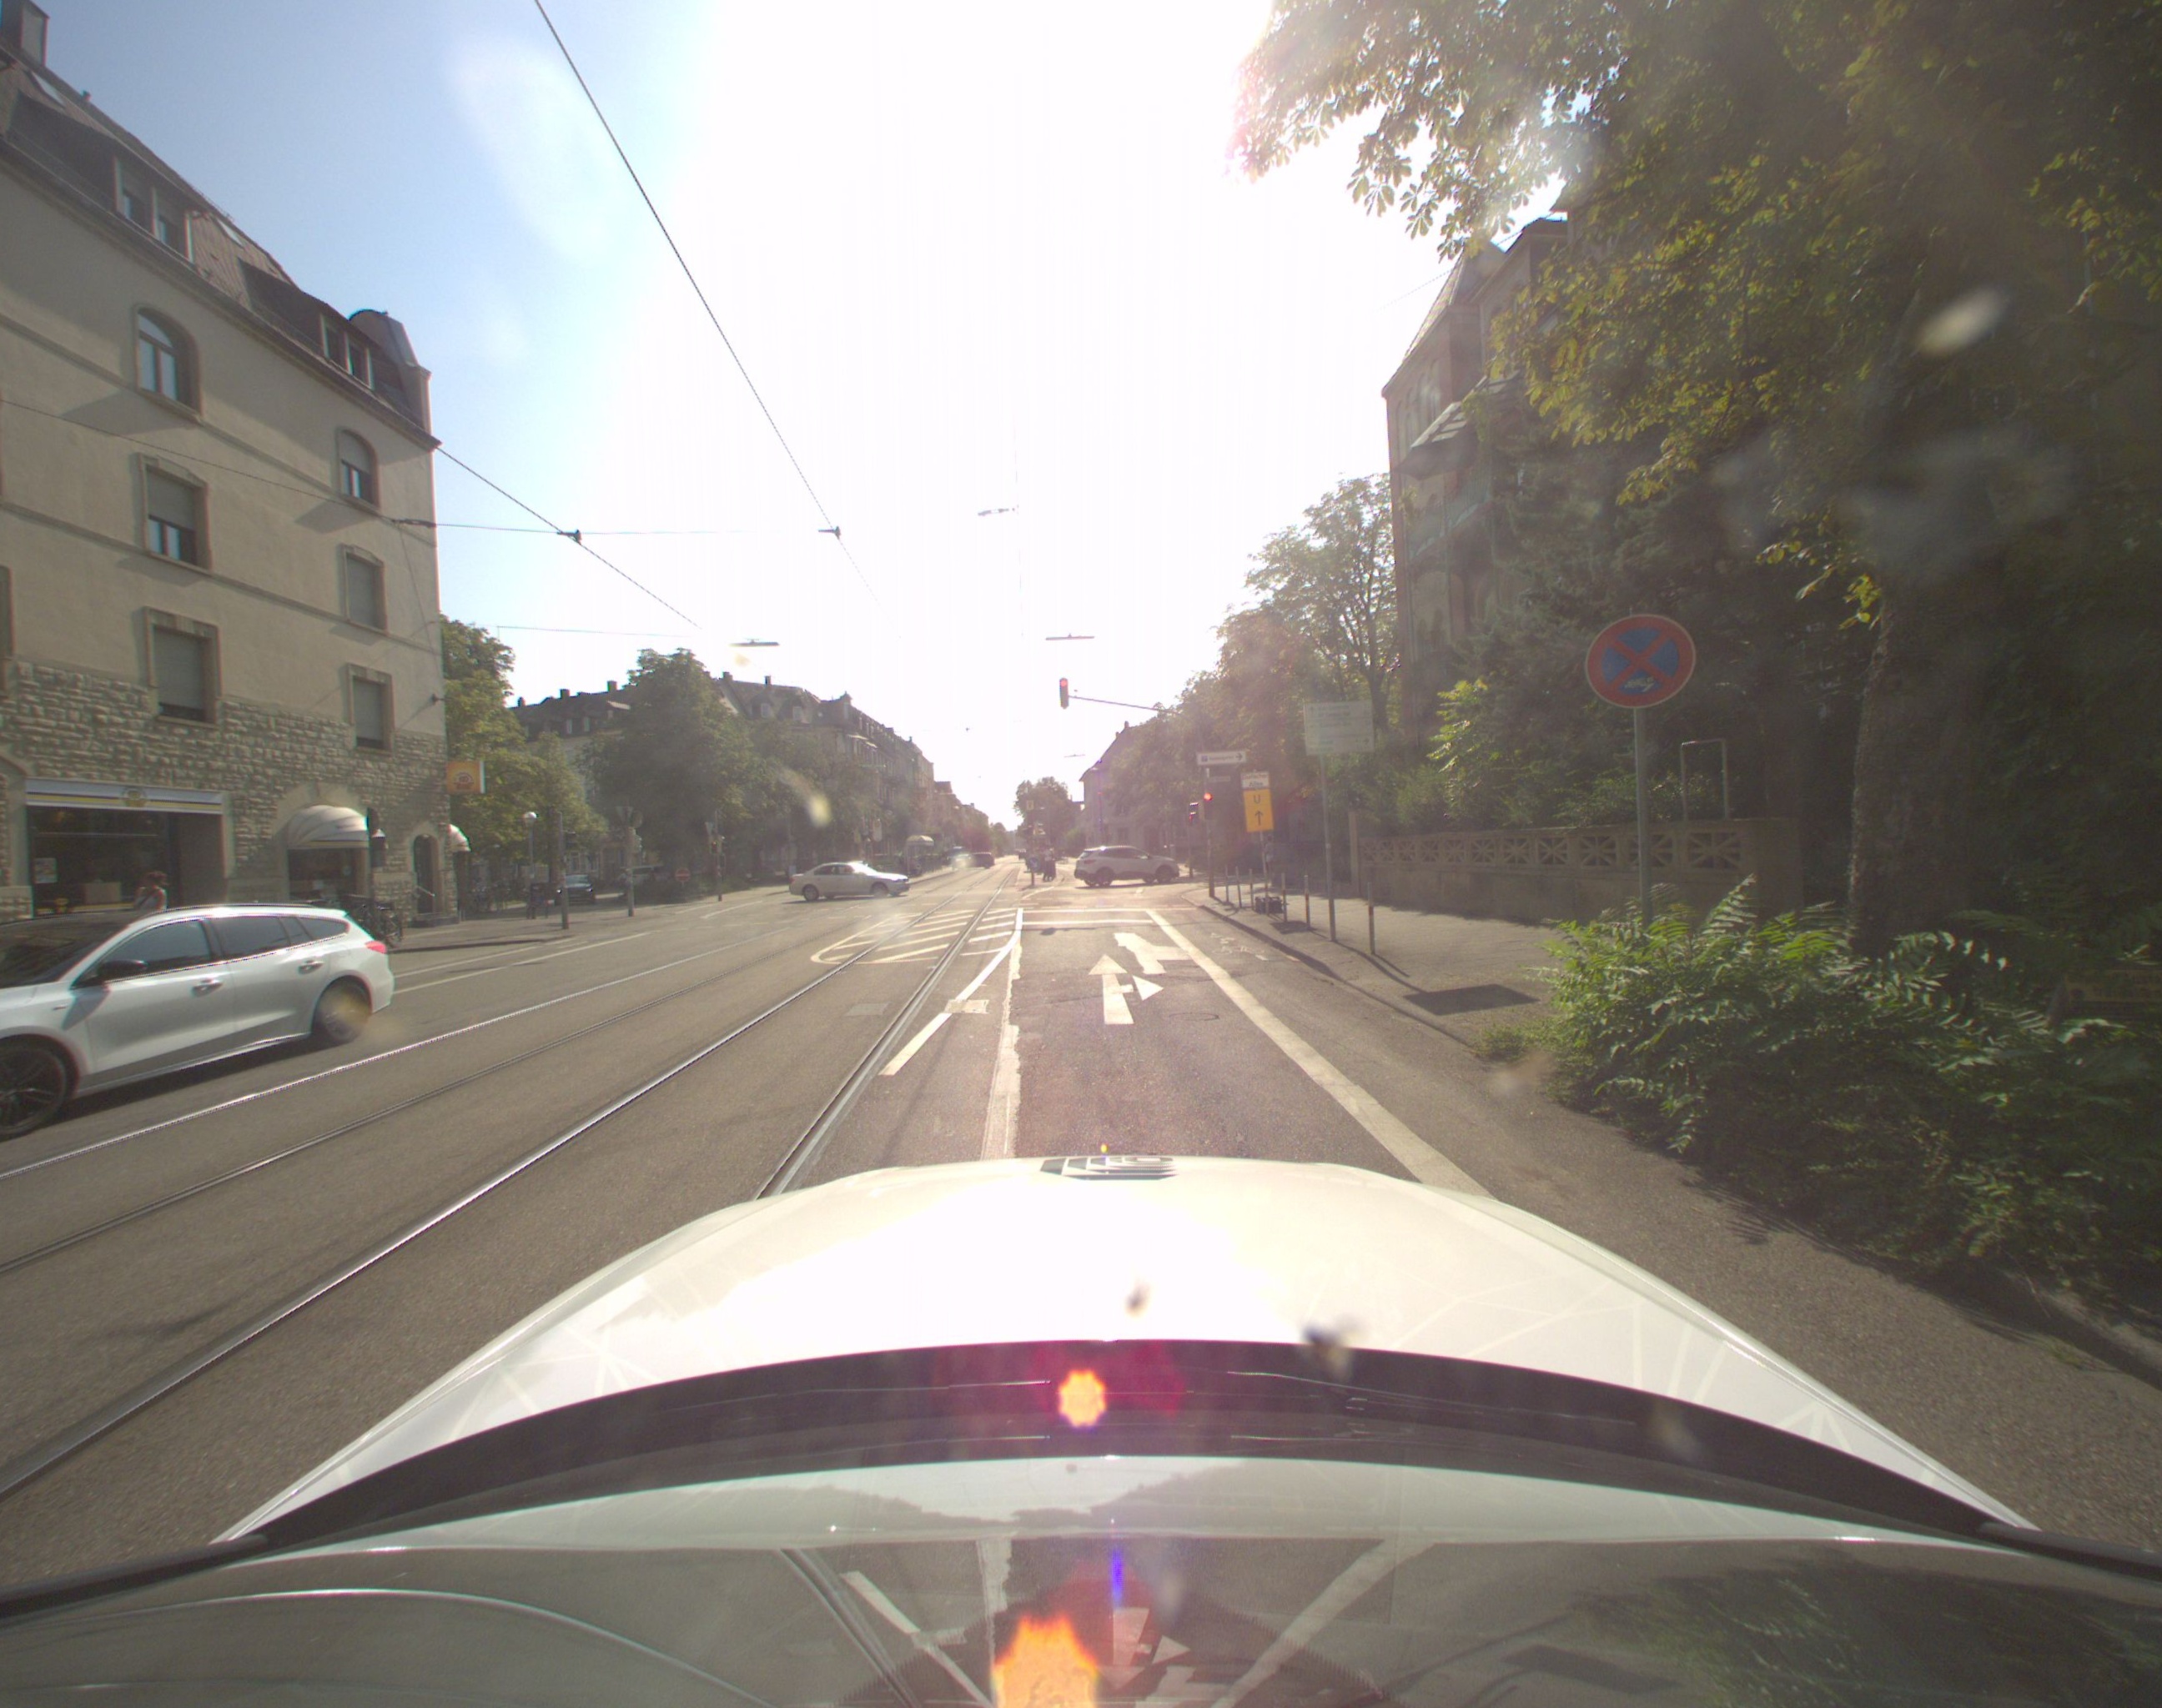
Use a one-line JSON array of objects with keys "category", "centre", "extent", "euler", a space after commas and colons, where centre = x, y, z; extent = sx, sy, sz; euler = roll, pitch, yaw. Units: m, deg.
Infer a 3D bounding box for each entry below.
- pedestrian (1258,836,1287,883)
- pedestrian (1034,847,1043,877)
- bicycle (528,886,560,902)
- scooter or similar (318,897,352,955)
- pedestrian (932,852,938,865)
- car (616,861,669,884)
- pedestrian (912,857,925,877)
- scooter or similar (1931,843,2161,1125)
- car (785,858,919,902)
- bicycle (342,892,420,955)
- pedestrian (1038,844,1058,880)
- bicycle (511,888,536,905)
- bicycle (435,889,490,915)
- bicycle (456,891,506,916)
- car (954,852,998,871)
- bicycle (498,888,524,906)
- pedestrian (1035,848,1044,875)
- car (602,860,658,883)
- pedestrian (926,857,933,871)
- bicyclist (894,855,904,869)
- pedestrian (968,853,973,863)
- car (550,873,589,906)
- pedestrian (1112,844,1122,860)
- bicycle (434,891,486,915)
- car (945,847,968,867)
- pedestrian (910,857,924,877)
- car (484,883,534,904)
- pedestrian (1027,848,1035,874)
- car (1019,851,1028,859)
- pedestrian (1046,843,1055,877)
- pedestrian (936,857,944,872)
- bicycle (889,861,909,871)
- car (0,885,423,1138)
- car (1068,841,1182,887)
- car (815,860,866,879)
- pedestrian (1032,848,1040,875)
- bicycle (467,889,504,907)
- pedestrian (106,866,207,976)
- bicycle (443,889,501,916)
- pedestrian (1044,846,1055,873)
[{"category": "pedestrian", "centre": [7.191, 0.208, 30.635], "extent": [0.750, 1.731, 0.768], "euler": [-3, 0, -12]}, {"category": "pedestrian", "centre": [-2.595, 0.481, 49.636], "extent": [0.503, 1.759, 0.533], "euler": [0, 2, -3]}, {"category": "bicycle", "centre": [-36.426, 2.714, 55.245], "extent": [1.756, 0.978, 0.606], "euler": [-3, 0, 4]}, {"category": "scooter or similar", "centre": [-16.086, 1.539, 17.555], "extent": [1.021, 1.197, 0.369], "euler": [-3, 0, 40]}, {"category": "pedestrian", "centre": [-20.120, 0.630, 112.041], "extent": [0.750, 1.731, 0.768], "euler": [-3, 0, -12]}, {"category": "car", "centre": [-40.474, 1.694, 75.183], "extent": [3.955, 1.828, 2.010], "euler": [-3, 0, 18]}, {"category": "pedestrian", "centre": [-11.507, 0.892, 57.720], "extent": [0.827, 1.358, 0.774], "euler": [-3, 0, -8]}, {"category": "scooter or similar", "centre": [5.011, 0.572, 3.967], "extent": [0.556, 1.197, 1.034], "euler": [-6, 0, 2]}, {"category": "car", "centre": [-9.181, 1.038, 32.799], "extent": [4.744, 1.466, 1.874], "euler": [-3, 0, 8]}, {"category": "bicycle", "centre": [-15.543, 1.516, 18.130], "extent": [0.453, 1.226, 1.849], "euler": [-3, 0, -13]}, {"category": "pedestrian", "centre": [-1.632, 0.391, 40.720], "extent": [0.693, 1.725, 0.753], "euler": [1, 3, 29]}, {"category": "bicycle", "centre": [-35.589, 2.695, 51.980], "extent": [0.423, 0.978, 1.768], "euler": [-3, 0, -4]}, {"category": "bicycle", "centre": [-27.370, 2.125, 36.060], "extent": [1.889, 1.034, 0.563], "euler": [-2, -1, -43]}, {"category": "bicycle", "centre": [-25.133, 2.072, 34.157], "extent": [0.473, 0.920, 1.619], "euler": [-3, -1, 27]}, {"category": "car", "centre": [-10.772, 0.743, 83.588], "extent": [4.314, 1.675, 1.997], "euler": [-3, 0, -4]}, {"category": "bicycle", "centre": [-35.925, 2.706, 51.370], "extent": [0.423, 0.978, 1.768], "euler": [-3, 0, -4]}, {"category": "pedestrian", "centre": [-2.782, 0.480, 54.445], "extent": [0.542, 1.759, 0.533], "euler": [0, 2, -3]}, {"category": "car", "centre": [-39.739, 1.555, 71.774], "extent": [3.955, 1.828, 2.010], "euler": [-3, 0, 18]}, {"category": "pedestrian", "centre": [-20.122, 1.322, 108.203], "extent": [0.750, 1.731, 0.768], "euler": [-3, 0, -12]}, {"category": "bicyclist", "centre": [-18.373, 0.803, 82.058], "extent": [0.816, 1.328, 0.548], "euler": [-3, 0, -1]}, {"category": "pedestrian", "centre": [-19.763, 0.764, 145.337], "extent": [0.750, 1.731, 0.768], "euler": [-3, 0, -12]}, {"category": "car", "centre": [-27.054, 1.817, 43.101], "extent": [1.618, 1.515, 4.185], "euler": [-4, 1, -32]}, {"category": "pedestrian", "centre": [4.004, -0.262, 90.545], "extent": [0.884, 1.740, 0.780], "euler": [-3, 0, 17]}, {"category": "bicycle", "centre": [-28.303, 2.216, 37.133], "extent": [1.815, 0.984, 0.563], "euler": [-2, -1, -44]}, {"category": "car", "centre": [-17.689, 0.399, 115.820], "extent": [2.339, 2.661, 5.105], "euler": [-3, 0, 1]}, {"category": "pedestrian", "centre": [-11.431, 0.890, 56.747], "extent": [0.827, 1.358, 0.774], "euler": [-3, 0, -8]}, {"category": "car", "centre": [-56.401, 3.865, 80.344], "extent": [3.955, 1.828, 2.010], "euler": [-3, 0, 18]}, {"category": "pedestrian", "centre": [-3.416, 0.499, 55.825], "extent": [0.531, 1.759, 0.544], "euler": [0, 2, -2]}, {"category": "car", "centre": [-11.901, 0.216, 169.029], "extent": [1.797, 1.653, 3.639], "euler": [-3, 0, -2]}, {"category": "pedestrian", "centre": [-1.697, 0.334, 44.985], "extent": [0.503, 1.833, 0.533], "euler": [0, 2, -3]}, {"category": "pedestrian", "centre": [-16.844, 1.207, 97.330], "extent": [0.748, 1.731, 0.771], "euler": [-3, 0, -1]}, {"category": "bicycle", "centre": [-18.330, 1.201, 82.062], "extent": [1.845, 0.958, 0.548], "euler": [-3, 0, -1]}, {"category": "car", "centre": [-7.998, 1.156, 6.607], "extent": [1.870, 1.454, 4.534], "euler": [-5, 1, -7]}, {"category": "car", "centre": [1.827, 0.403, 34.129], "extent": [4.330, 1.630, 1.988], "euler": [-3, 0, -18]}, {"category": "car", "centre": [-22.877, 1.456, 77.477], "extent": [4.343, 1.569, 1.984], "euler": [-3, 0, -25]}, {"category": "pedestrian", "centre": [-2.949, 0.493, 53.625], "extent": [0.542, 1.759, 0.533], "euler": [0, 2, -3]}, {"category": "bicycle", "centre": [-36.984, 2.744, 50.585], "extent": [1.773, 0.978, 0.516], "euler": [-3, 0, -26]}, {"category": "pedestrian", "centre": [-16.525, 1.175, 14.584], "extent": [0.772, 1.859, 0.829], "euler": [-3, 0, -6]}, {"category": "bicycle", "centre": [-26.244, 2.080, 35.105], "extent": [0.562, 1.003, 1.890], "euler": [-3, -1, 33]}, {"category": "pedestrian", "centre": [-2.103, 0.338, 53.867], "extent": [0.707, 1.759, 0.533], "euler": [0, 2, -4]}]
